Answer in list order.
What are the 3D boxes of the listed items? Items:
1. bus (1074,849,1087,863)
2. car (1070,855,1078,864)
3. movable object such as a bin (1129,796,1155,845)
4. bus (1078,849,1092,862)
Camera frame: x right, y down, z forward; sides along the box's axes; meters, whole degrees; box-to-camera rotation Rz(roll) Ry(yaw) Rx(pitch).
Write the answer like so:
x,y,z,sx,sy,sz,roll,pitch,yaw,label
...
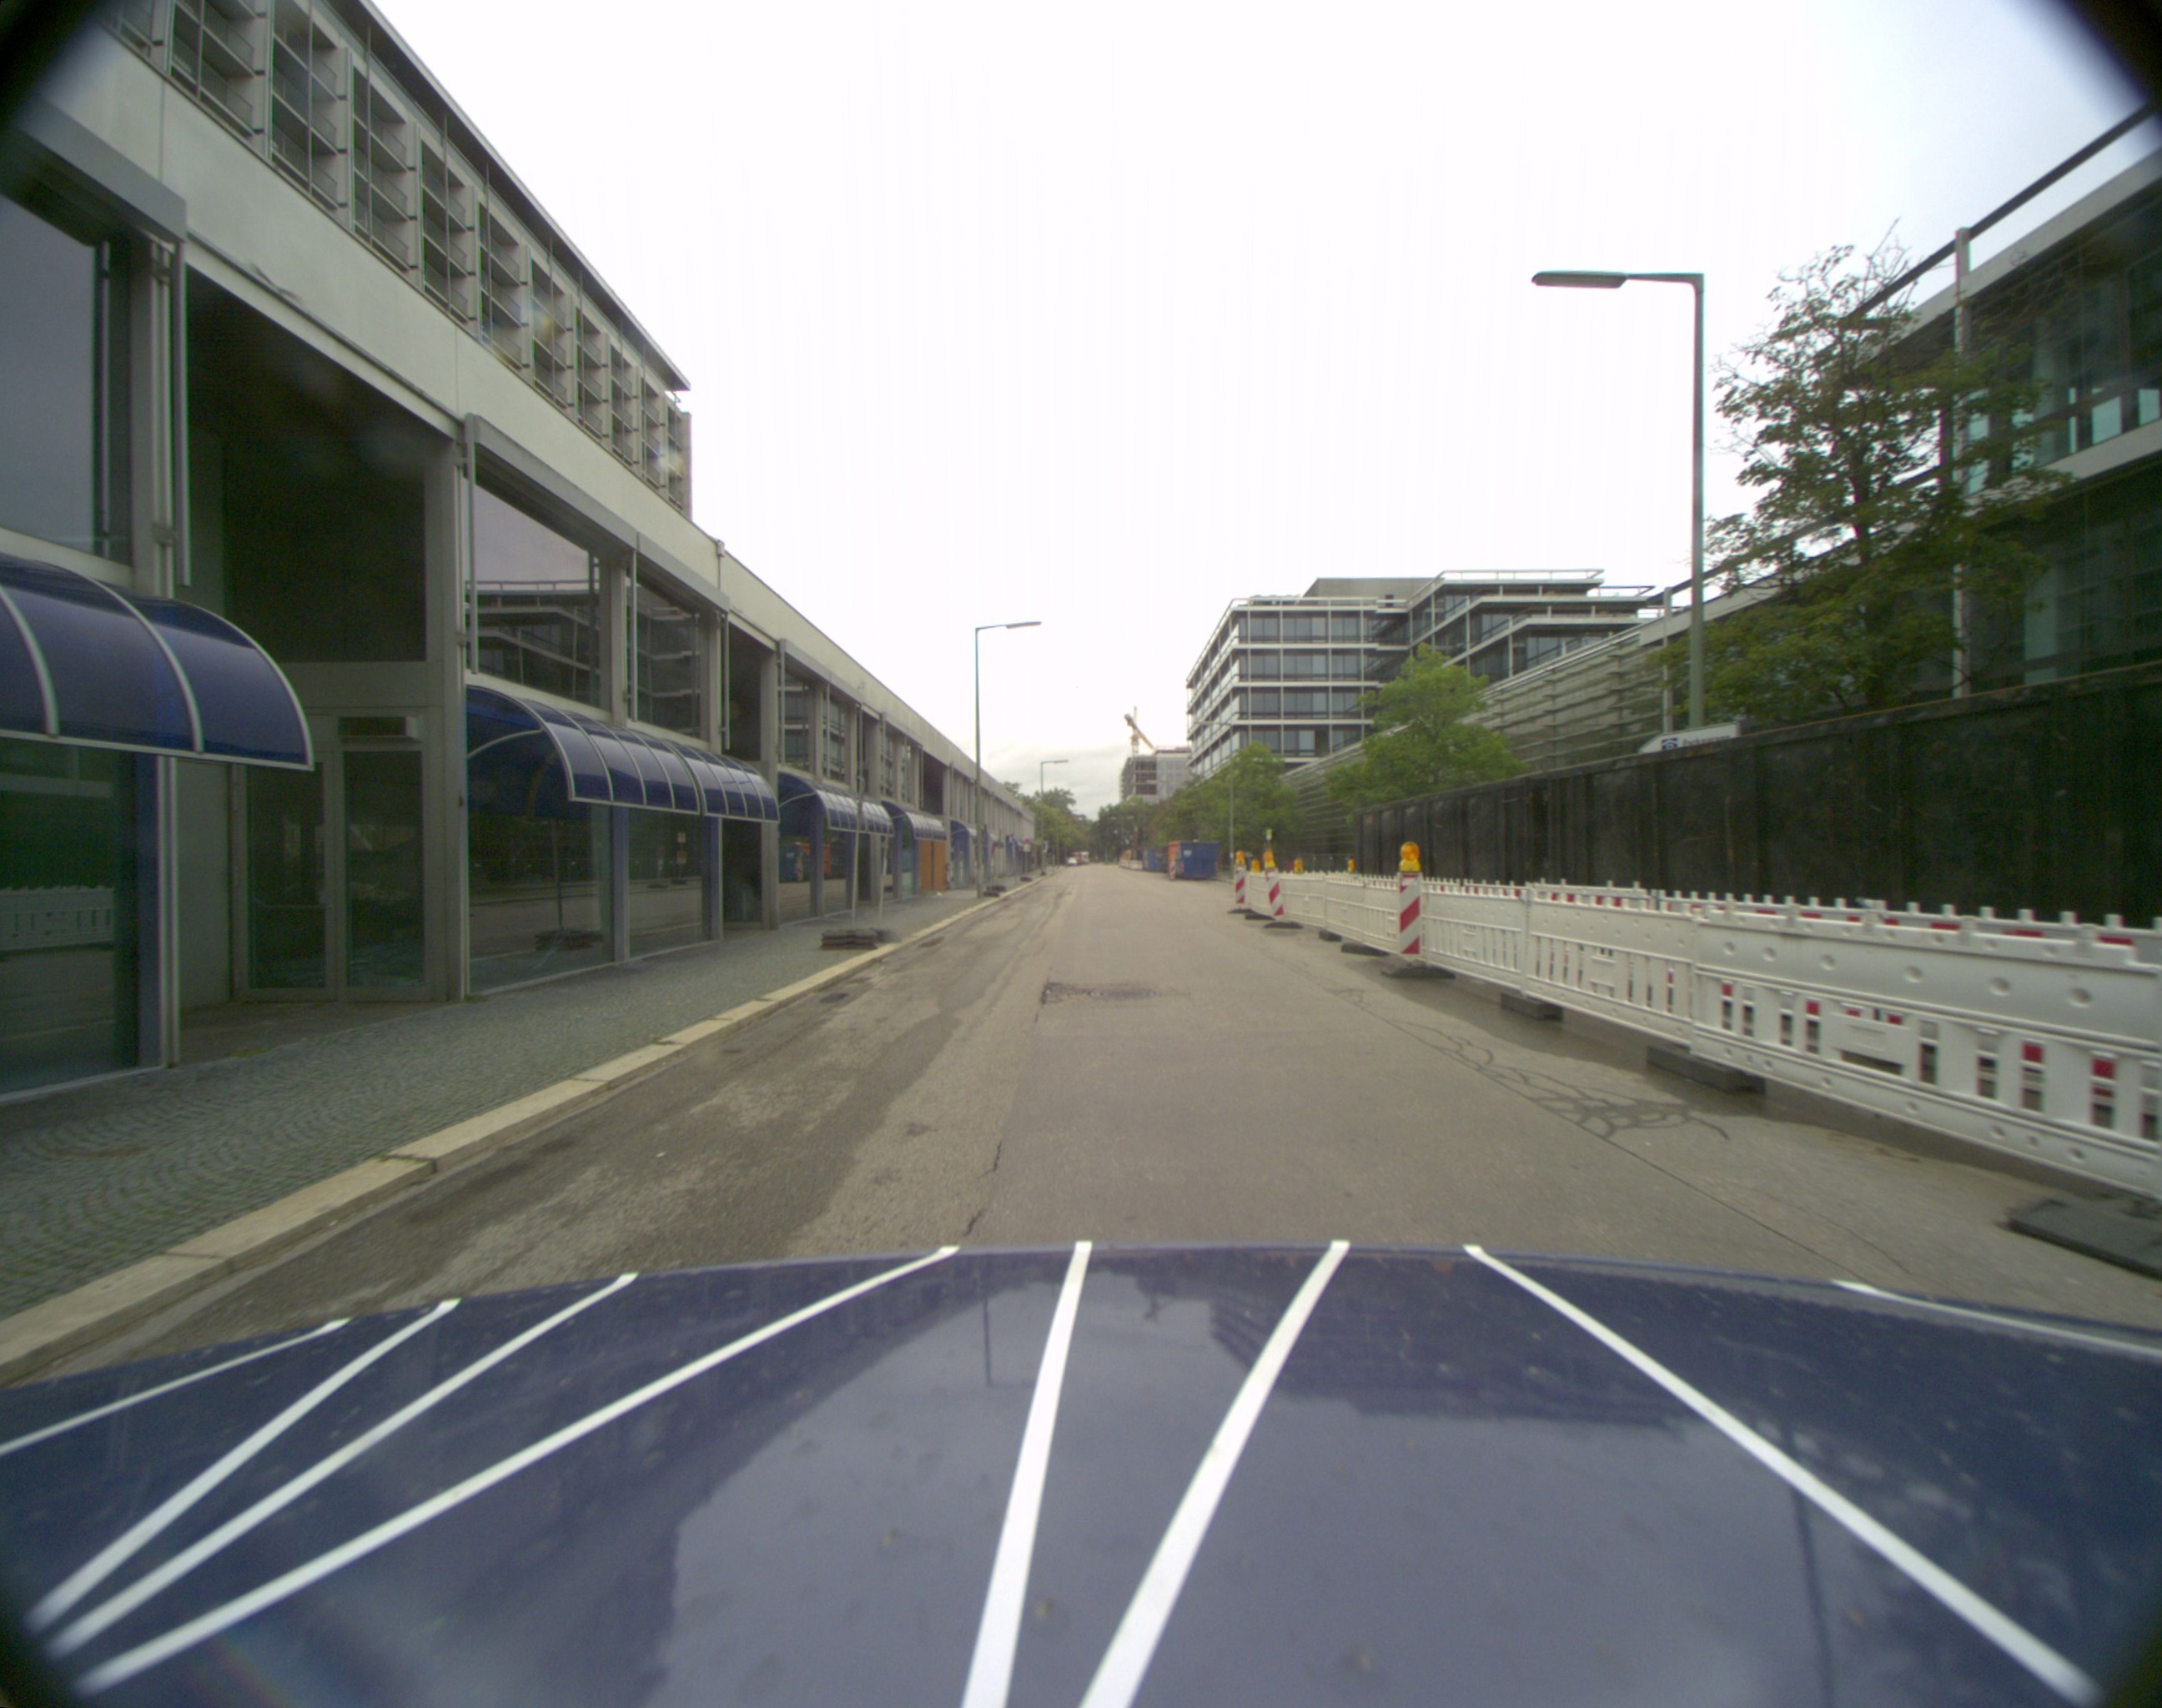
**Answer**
x,y,z,sx,sy,sz,roll,pitch,yaw,label
-0.106,0.338,149.370,2.077,2.789,6.275,0,0,5,bus
-1.304,1.030,142.149,1.536,1.483,4.059,0,1,-2,car
8.547,-4.571,107.892,2.911,6.526,11.783,0,0,0,movable object such as a bin
0.821,0.280,163.326,2.076,2.714,5.871,0,0,10,bus
